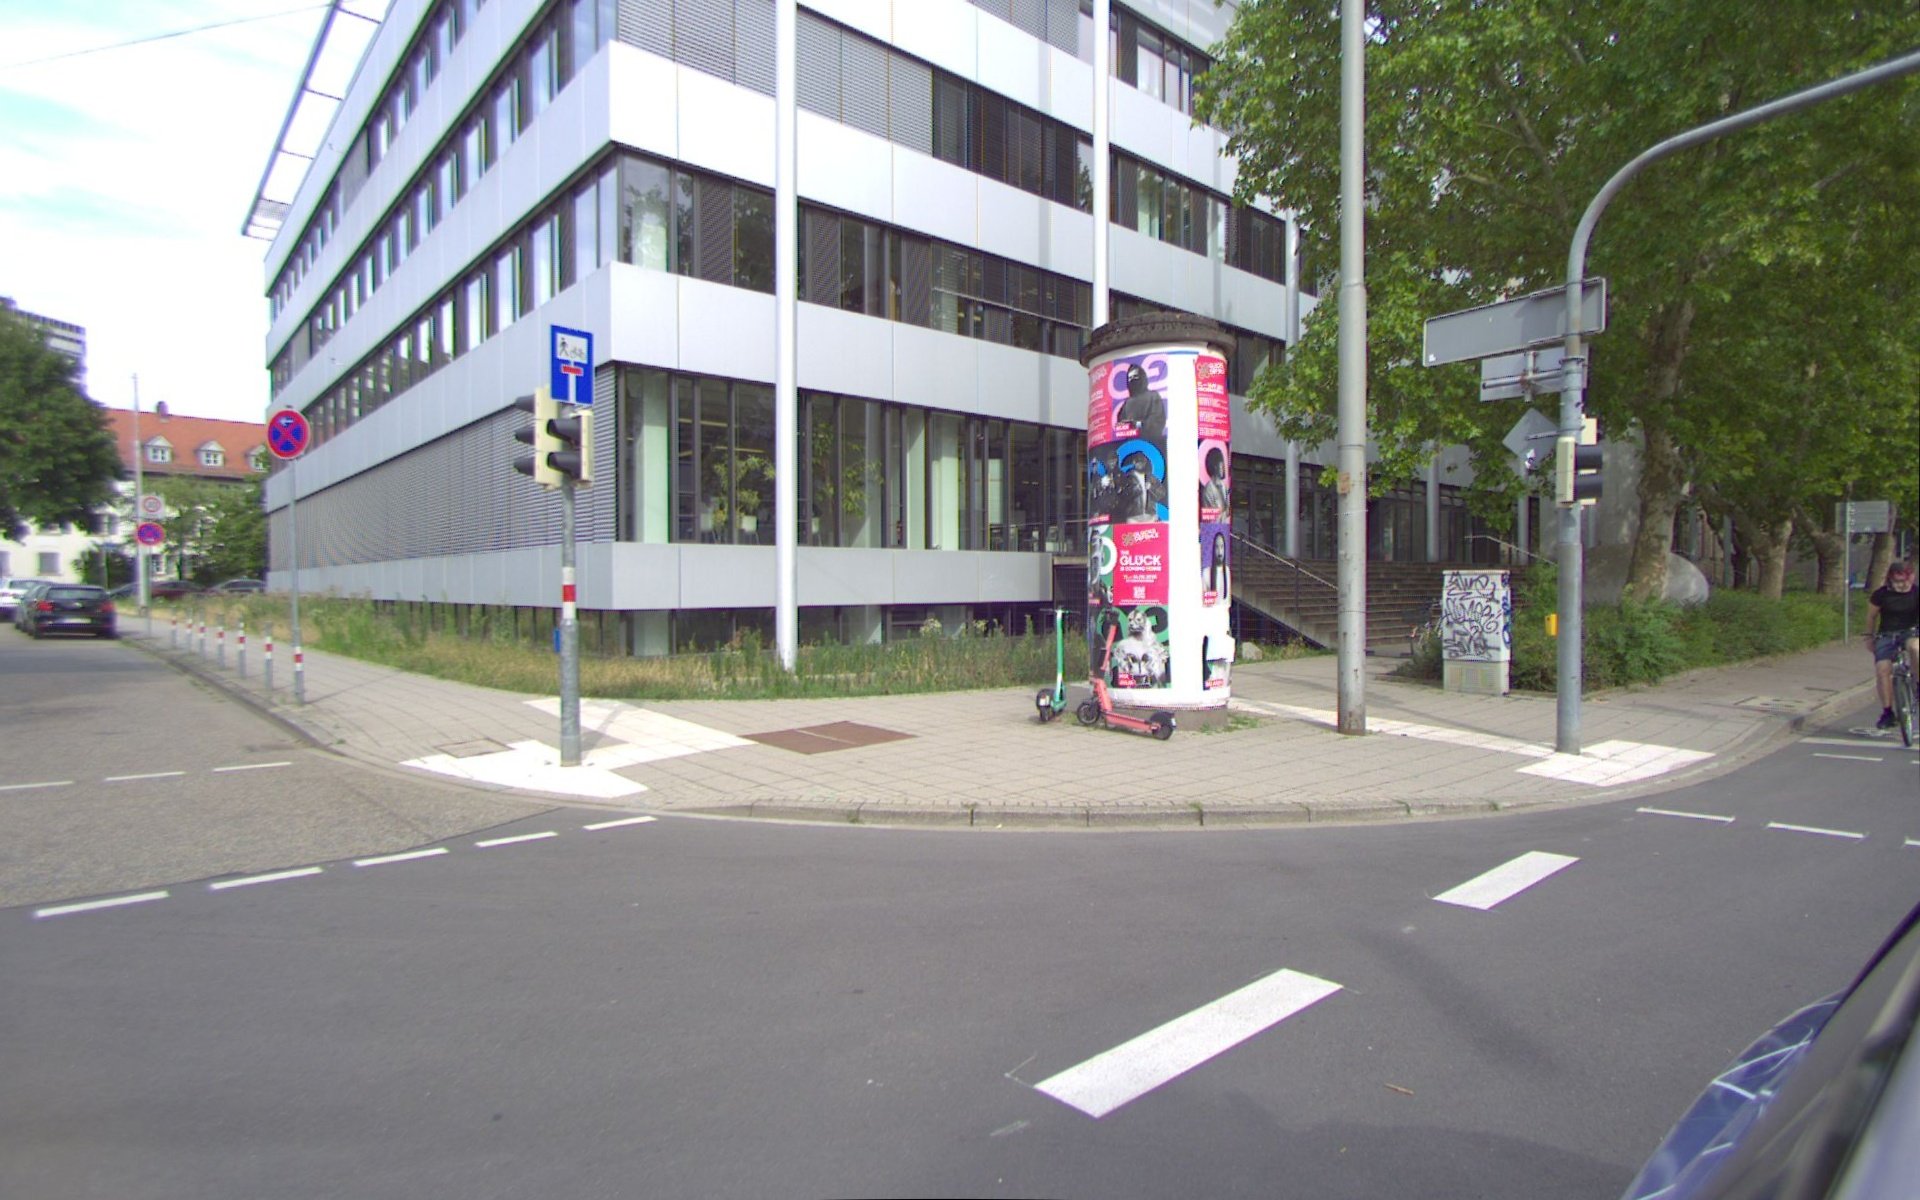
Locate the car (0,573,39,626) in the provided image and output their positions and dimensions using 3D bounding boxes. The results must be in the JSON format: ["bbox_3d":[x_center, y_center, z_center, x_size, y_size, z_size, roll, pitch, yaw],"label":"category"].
[{"bbox_3d":[-39.066,0.020,41.107,3.981,2.039,1.971,-2,-1,41],"label":"car"}]

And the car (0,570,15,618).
[{"bbox_3d":[-43.255,-0.233,44.588,3.981,2.039,1.971,-2,-1,41],"label":"car"}]

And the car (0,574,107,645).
[{"bbox_3d":[-27.649,0.304,30.807,3.981,2.039,1.971,-2,-1,41],"label":"car"}]

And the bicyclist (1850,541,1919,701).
[{"bbox_3d":[9.882,0.207,10.499,0.786,1.604,0.773,-1,-2,-37],"label":"bicyclist"}]

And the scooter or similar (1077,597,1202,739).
[{"bbox_3d":[1.704,0.612,9.780,0.338,1.224,1.310,-1,3,-36],"label":"scooter or similar"}]

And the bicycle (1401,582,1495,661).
[{"bbox_3d":[7.733,0.320,16.012,1.695,1.184,0.699,-1,-1,-41],"label":"bicycle"}]

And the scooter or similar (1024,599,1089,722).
[{"bbox_3d":[1.032,0.595,10.693,0.465,1.151,1.305,1,3,15],"label":"scooter or similar"}]

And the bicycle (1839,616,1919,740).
[{"bbox_3d":[9.824,0.756,10.402,1.967,1.145,0.773,-1,-2,-38],"label":"bicycle"}]

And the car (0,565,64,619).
[{"bbox_3d":[-35.039,-0.265,37.755,3.861,1.885,1.925,-2,-1,41],"label":"car"}]

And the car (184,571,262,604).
[{"bbox_3d":[-47.642,-0.797,65.432,3.930,2.039,1.997,-1,-1,-40],"label":"car"}]

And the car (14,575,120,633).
[{"bbox_3d":[-24.080,0.136,27.264,3.635,1.462,1.652,-2,-1,41],"label":"car"}]

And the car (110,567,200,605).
[{"bbox_3d":[-45.728,-0.809,57.536,3.930,2.039,1.997,-1,-1,-41],"label":"car"}]
